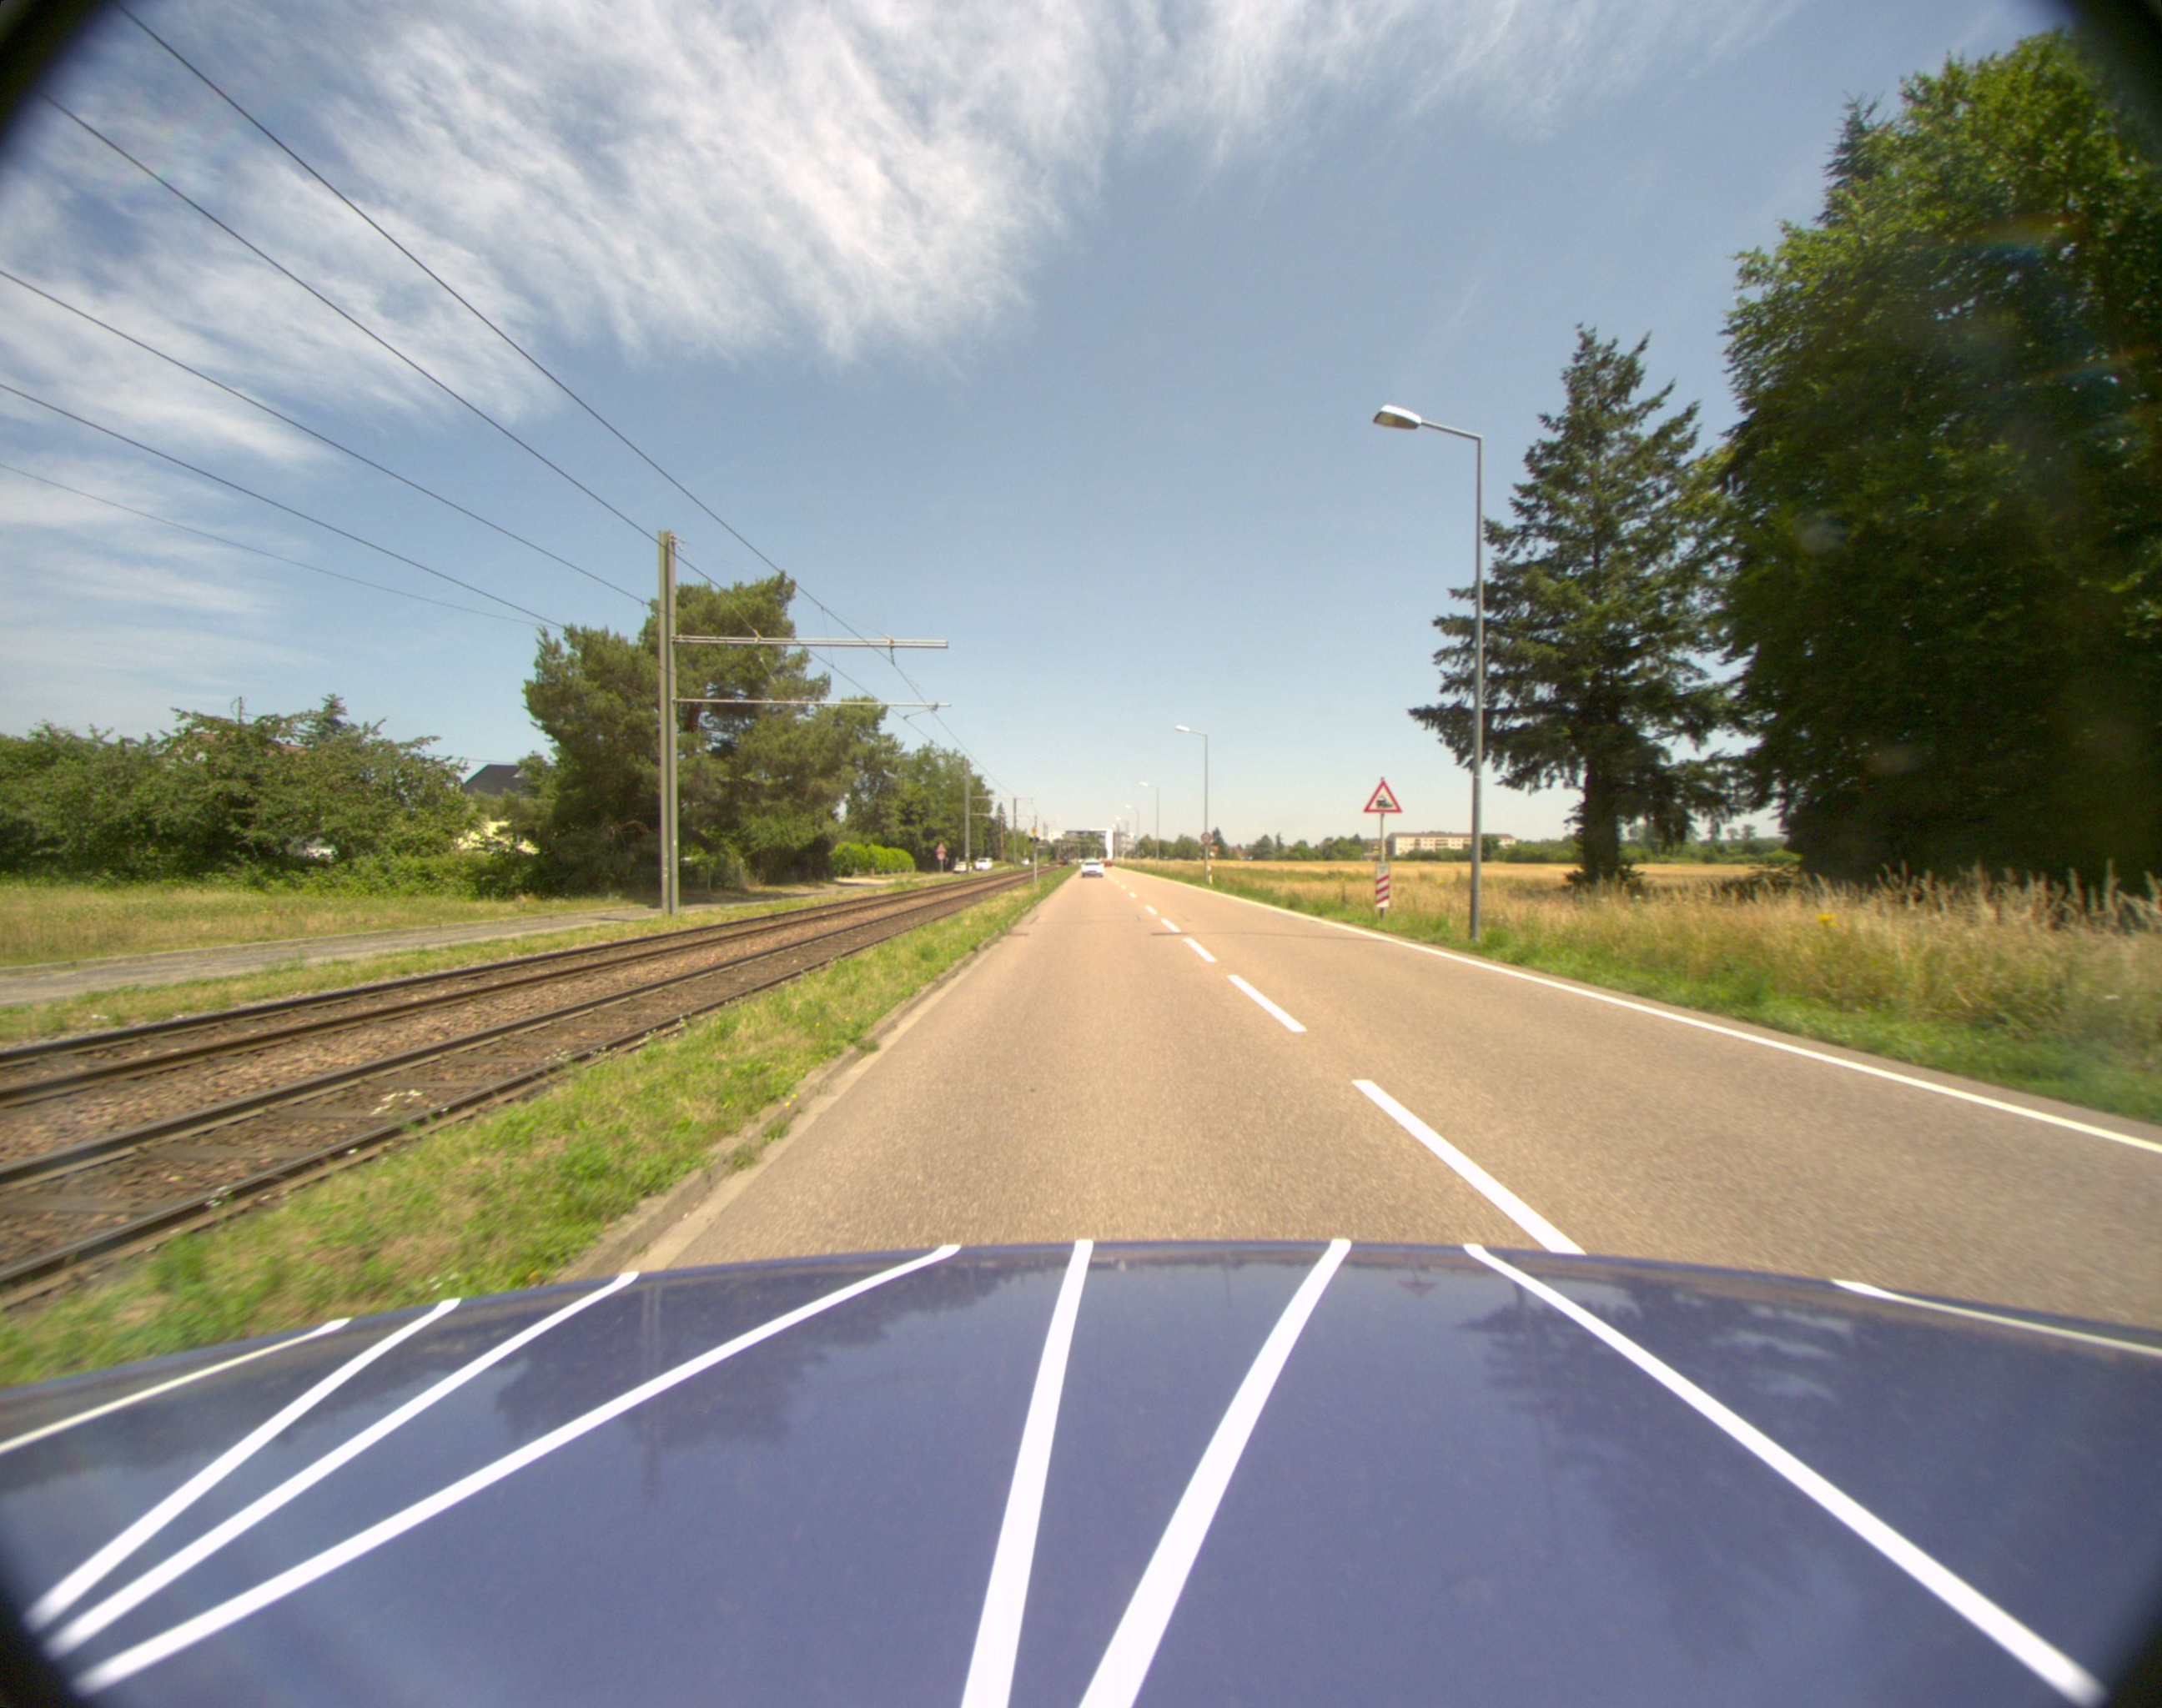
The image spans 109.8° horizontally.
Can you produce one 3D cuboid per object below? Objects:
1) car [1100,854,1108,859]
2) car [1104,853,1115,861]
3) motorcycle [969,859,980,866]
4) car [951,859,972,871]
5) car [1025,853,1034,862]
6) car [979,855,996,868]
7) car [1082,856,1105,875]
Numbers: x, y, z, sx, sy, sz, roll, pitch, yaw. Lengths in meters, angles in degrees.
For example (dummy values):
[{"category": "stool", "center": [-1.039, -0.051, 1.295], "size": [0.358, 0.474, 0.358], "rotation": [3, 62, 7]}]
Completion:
[{"category": "car", "center": [6.546, 0.721, 213.903], "size": [2.254, 1.254, 3.890], "rotation": [-1, 0, 1]}, {"category": "car", "center": [6.190, 0.692, 164.075], "size": [2.254, 1.677, 3.890], "rotation": [-1, 0, 1]}, {"category": "motorcycle", "center": [-15.010, 1.222, 107.148], "size": [0.858, 0.902, 2.791], "rotation": [-1, 0, 5]}, {"category": "car", "center": [-15.061, 1.410, 95.872], "size": [1.923, 1.376, 4.000], "rotation": [-1, 0, 1]}, {"category": "car", "center": [-13.078, 0.927, 194.336], "size": [1.944, 2.111, 4.587], "rotation": [-1, 0, 1]}, {"category": "car", "center": [-14.276, 1.157, 116.560], "size": [1.863, 1.816, 4.587], "rotation": [-1, 0, 1]}, {"category": "car", "center": [1.023, 0.928, 63.112], "size": [1.856, 1.447, 3.706], "rotation": [-1, 0, 1]}]
